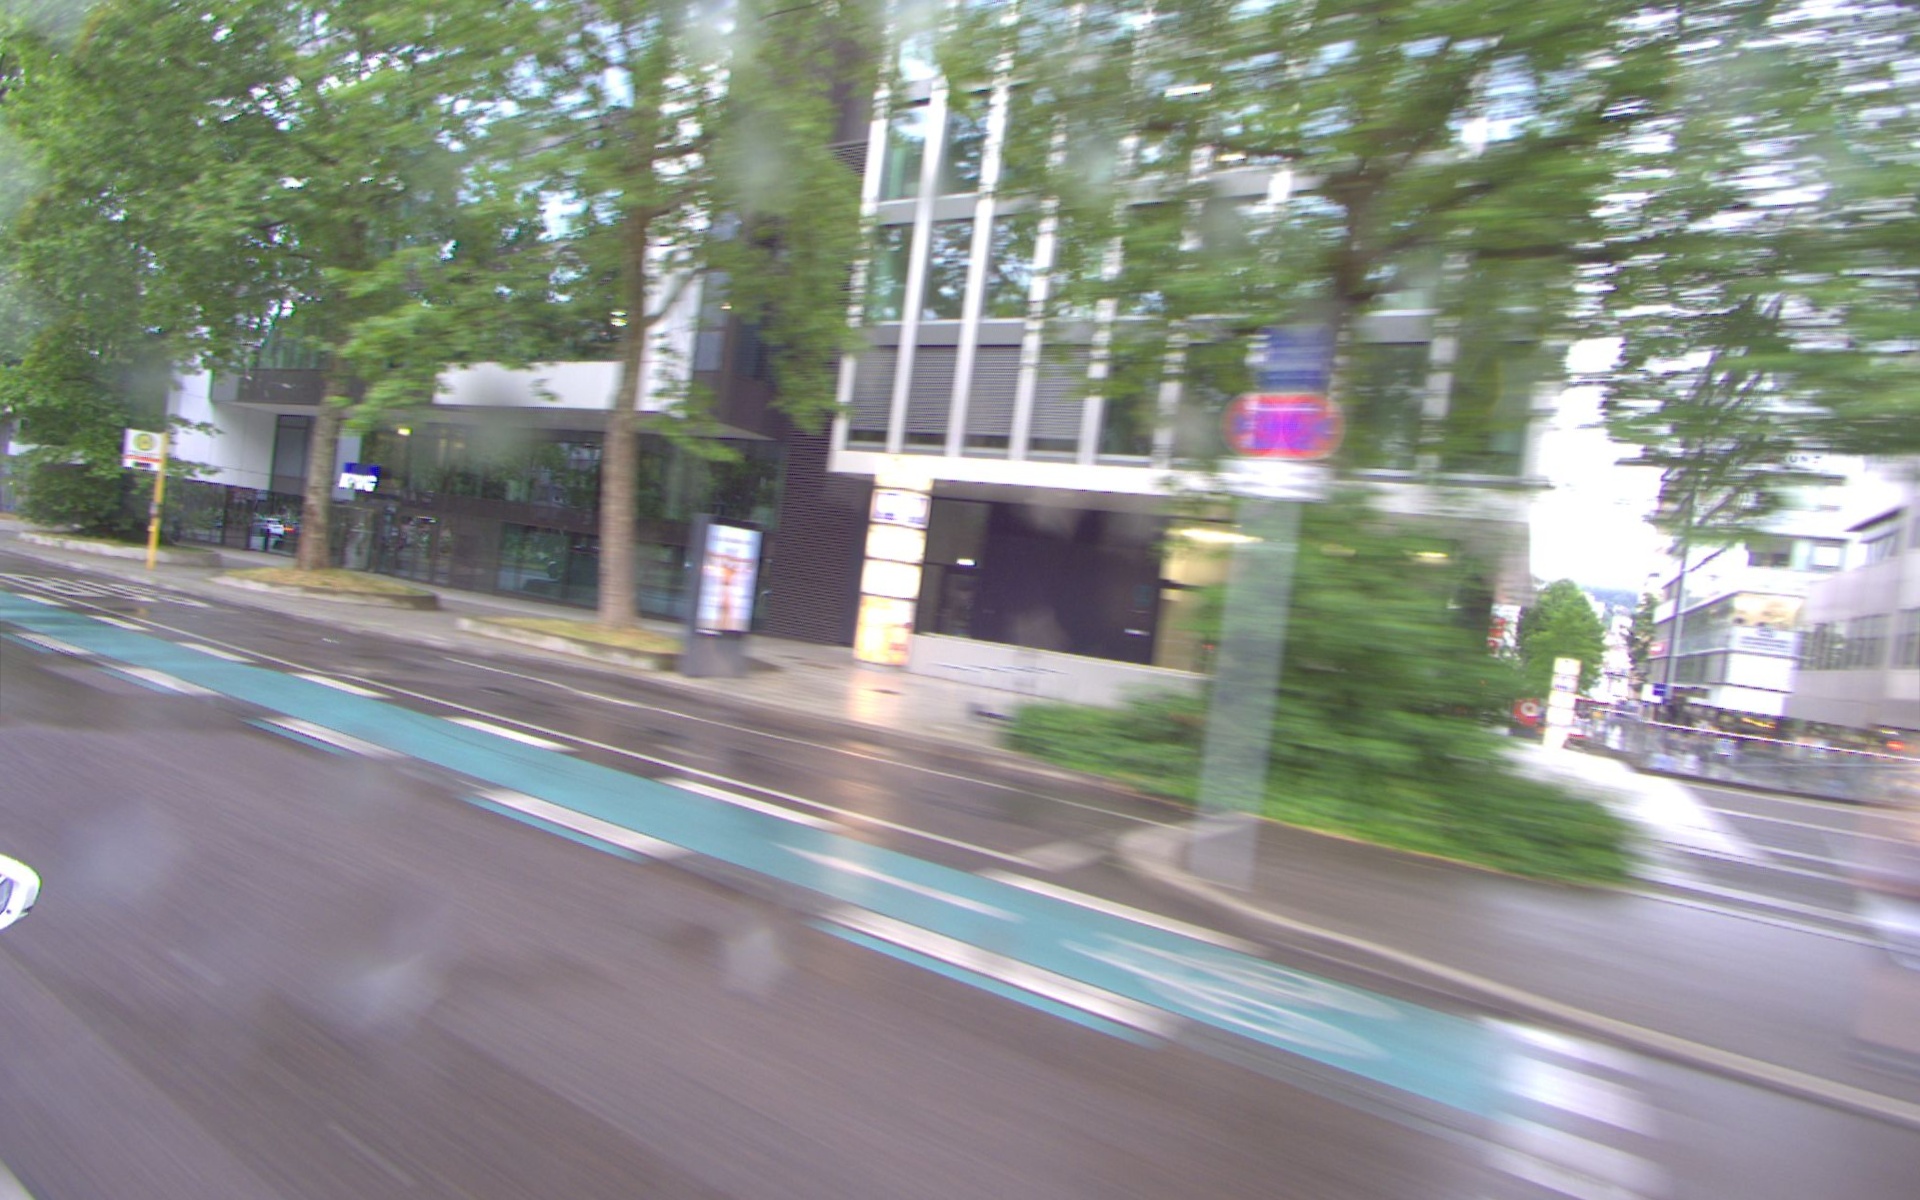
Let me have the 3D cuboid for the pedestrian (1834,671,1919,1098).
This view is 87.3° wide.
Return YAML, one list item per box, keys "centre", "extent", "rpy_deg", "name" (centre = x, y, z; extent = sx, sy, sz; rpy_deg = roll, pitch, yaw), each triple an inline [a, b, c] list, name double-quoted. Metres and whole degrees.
- centre: [4.554, 1.277, 4.554]
  extent: [0.554, 1.853, 0.607]
  rpy_deg: [7, 0, 23]
  name: "pedestrian"

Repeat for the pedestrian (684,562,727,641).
- centre: [-6.180, 0.037, 24.467]
  extent: [0.597, 1.816, 0.563]
  rpy_deg: [7, 0, 29]
  name: "pedestrian"

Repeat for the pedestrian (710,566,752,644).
- centre: [-5.742, 0.127, 25.209]
  extent: [0.597, 1.877, 0.563]
  rpy_deg: [7, 0, 29]
  name: "pedestrian"
